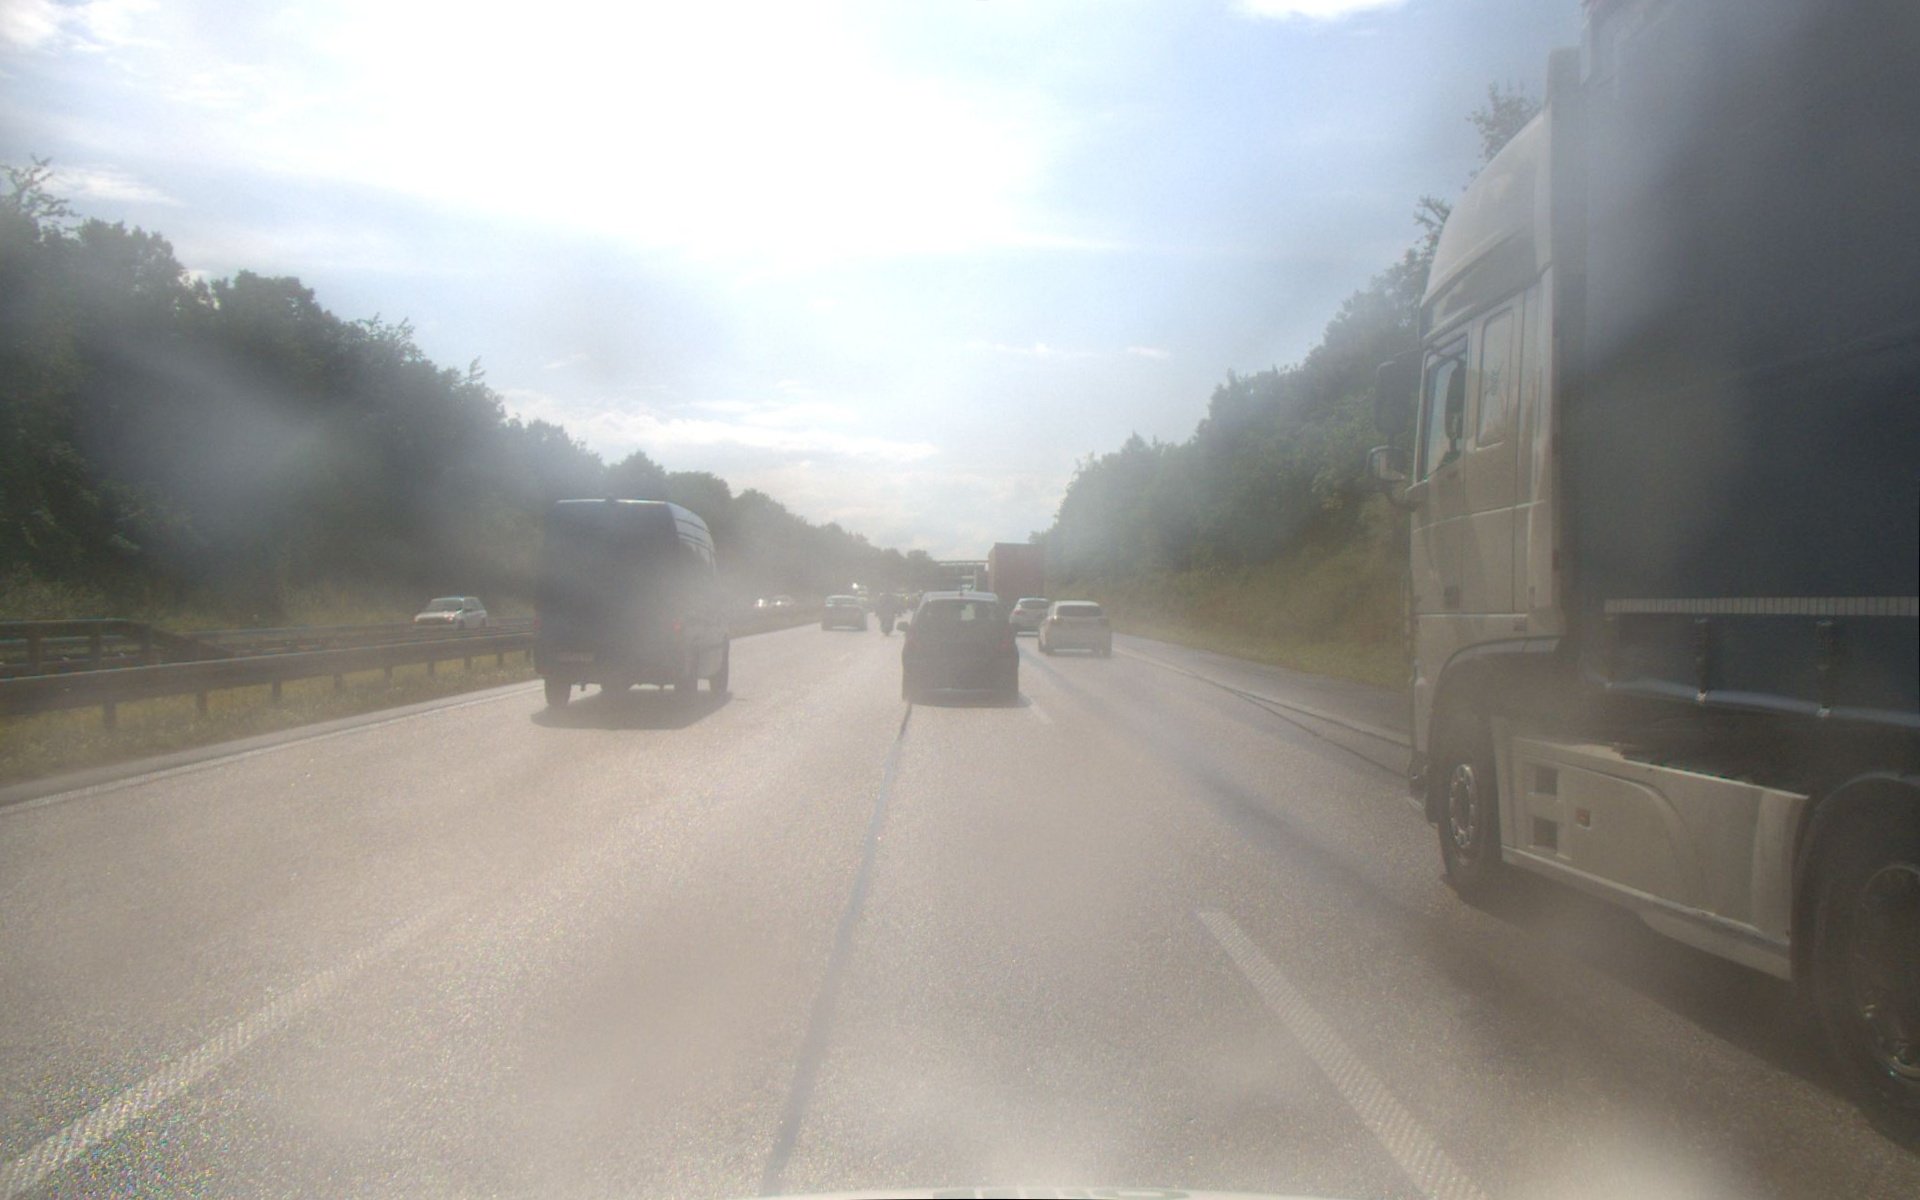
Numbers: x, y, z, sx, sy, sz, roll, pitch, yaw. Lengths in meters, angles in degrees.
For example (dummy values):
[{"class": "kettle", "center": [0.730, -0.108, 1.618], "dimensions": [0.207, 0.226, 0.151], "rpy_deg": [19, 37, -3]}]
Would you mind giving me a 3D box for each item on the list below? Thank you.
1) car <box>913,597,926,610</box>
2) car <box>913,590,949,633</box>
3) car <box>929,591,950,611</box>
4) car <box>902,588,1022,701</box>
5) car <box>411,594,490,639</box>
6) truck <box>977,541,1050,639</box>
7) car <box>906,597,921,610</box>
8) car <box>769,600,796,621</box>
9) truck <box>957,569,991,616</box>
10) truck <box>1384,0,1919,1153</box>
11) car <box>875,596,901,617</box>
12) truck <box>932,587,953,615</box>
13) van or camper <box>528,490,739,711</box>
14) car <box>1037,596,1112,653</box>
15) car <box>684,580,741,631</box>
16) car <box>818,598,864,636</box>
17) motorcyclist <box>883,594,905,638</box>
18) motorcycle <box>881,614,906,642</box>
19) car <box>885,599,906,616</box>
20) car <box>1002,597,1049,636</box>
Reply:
[{"class": "car", "center": [-5.871, 0.507, 239.796], "dimensions": [1.953, 1.731, 3.999], "rpy_deg": [0, 0, -1]}, {"class": "car", "center": [-1.236, 0.473, 70.338], "dimensions": [1.500, 1.777, 3.484], "rpy_deg": [1, 0, -1]}, {"class": "car", "center": [-1.486, 0.066, 119.959], "dimensions": [1.521, 1.407, 3.209], "rpy_deg": [1, 0, -1]}, {"class": "car", "center": [-0.001, 0.644, 25.355], "dimensions": [1.683, 1.595, 3.484], "rpy_deg": [1, 0, -1]}, {"class": "car", "center": [-20.486, 0.653, 66.705], "dimensions": [1.791, 1.692, 4.630], "rpy_deg": [1, 0, -1]}, {"class": "truck", "center": [2.763, -0.476, 90.863], "dimensions": [3.575, 4.803, 16.779], "rpy_deg": [1, 0, 1]}, {"class": "car", "center": [-4.857, 0.370, 172.542], "dimensions": [1.455, 1.414, 3.197], "rpy_deg": [1, 0, -1]}, {"class": "car", "center": [-14.621, 0.876, 136.422], "dimensions": [1.800, 1.692, 4.440], "rpy_deg": [1, 0, -1]}, {"class": "truck", "center": [1.421, -0.684, 166.692], "dimensions": [3.189, 4.558, 12.421], "rpy_deg": [1, 0, 1]}, {"class": "truck", "center": [3.875, -0.515, 6.289], "dimensions": [2.554, 4.065, 7.289], "rpy_deg": [1, 0, -1]}, {"class": "car", "center": [-5.206, 0.456, 119.873], "dimensions": [1.716, 1.482, 3.389], "rpy_deg": [1, 0, -1]}, {"class": "truck", "center": [-1.931, 0.137, 178.922], "dimensions": [2.147, 2.926, 4.848], "rpy_deg": [1, 0, -1]}, {"class": "van or camper", "center": [-4.408, 0.015, 23.224], "dimensions": [1.953, 2.715, 5.383], "rpy_deg": [1, 0, -1]}, {"class": "car", "center": [3.084, 0.652, 45.226], "dimensions": [1.658, 1.450, 4.219], "rpy_deg": [1, 0, -1]}, {"class": "car", "center": [-12.681, 0.268, 85.176], "dimensions": [2.139, 2.495, 5.746], "rpy_deg": [1, 0, -1]}, {"class": "car", "center": [-5.162, 0.714, 72.021], "dimensions": [1.817, 1.578, 3.484], "rpy_deg": [1, 0, -1]}, {"class": "motorcyclist", "center": [-2.507, 0.595, 62.957], "dimensions": [0.785, 1.662, 1.013], "rpy_deg": [1, 0, -1]}, {"class": "motorcycle", "center": [-2.530, 1.052, 62.998], "dimensions": [0.872, 1.018, 2.895], "rpy_deg": [1, 0, -1]}, {"class": "car", "center": [-5.628, 0.674, 144.559], "dimensions": [1.716, 1.482, 3.389], "rpy_deg": [1, 0, -1]}, {"class": "car", "center": [2.599, 0.643, 66.065], "dimensions": [1.646, 1.467, 3.904], "rpy_deg": [1, 0, -1]}]
